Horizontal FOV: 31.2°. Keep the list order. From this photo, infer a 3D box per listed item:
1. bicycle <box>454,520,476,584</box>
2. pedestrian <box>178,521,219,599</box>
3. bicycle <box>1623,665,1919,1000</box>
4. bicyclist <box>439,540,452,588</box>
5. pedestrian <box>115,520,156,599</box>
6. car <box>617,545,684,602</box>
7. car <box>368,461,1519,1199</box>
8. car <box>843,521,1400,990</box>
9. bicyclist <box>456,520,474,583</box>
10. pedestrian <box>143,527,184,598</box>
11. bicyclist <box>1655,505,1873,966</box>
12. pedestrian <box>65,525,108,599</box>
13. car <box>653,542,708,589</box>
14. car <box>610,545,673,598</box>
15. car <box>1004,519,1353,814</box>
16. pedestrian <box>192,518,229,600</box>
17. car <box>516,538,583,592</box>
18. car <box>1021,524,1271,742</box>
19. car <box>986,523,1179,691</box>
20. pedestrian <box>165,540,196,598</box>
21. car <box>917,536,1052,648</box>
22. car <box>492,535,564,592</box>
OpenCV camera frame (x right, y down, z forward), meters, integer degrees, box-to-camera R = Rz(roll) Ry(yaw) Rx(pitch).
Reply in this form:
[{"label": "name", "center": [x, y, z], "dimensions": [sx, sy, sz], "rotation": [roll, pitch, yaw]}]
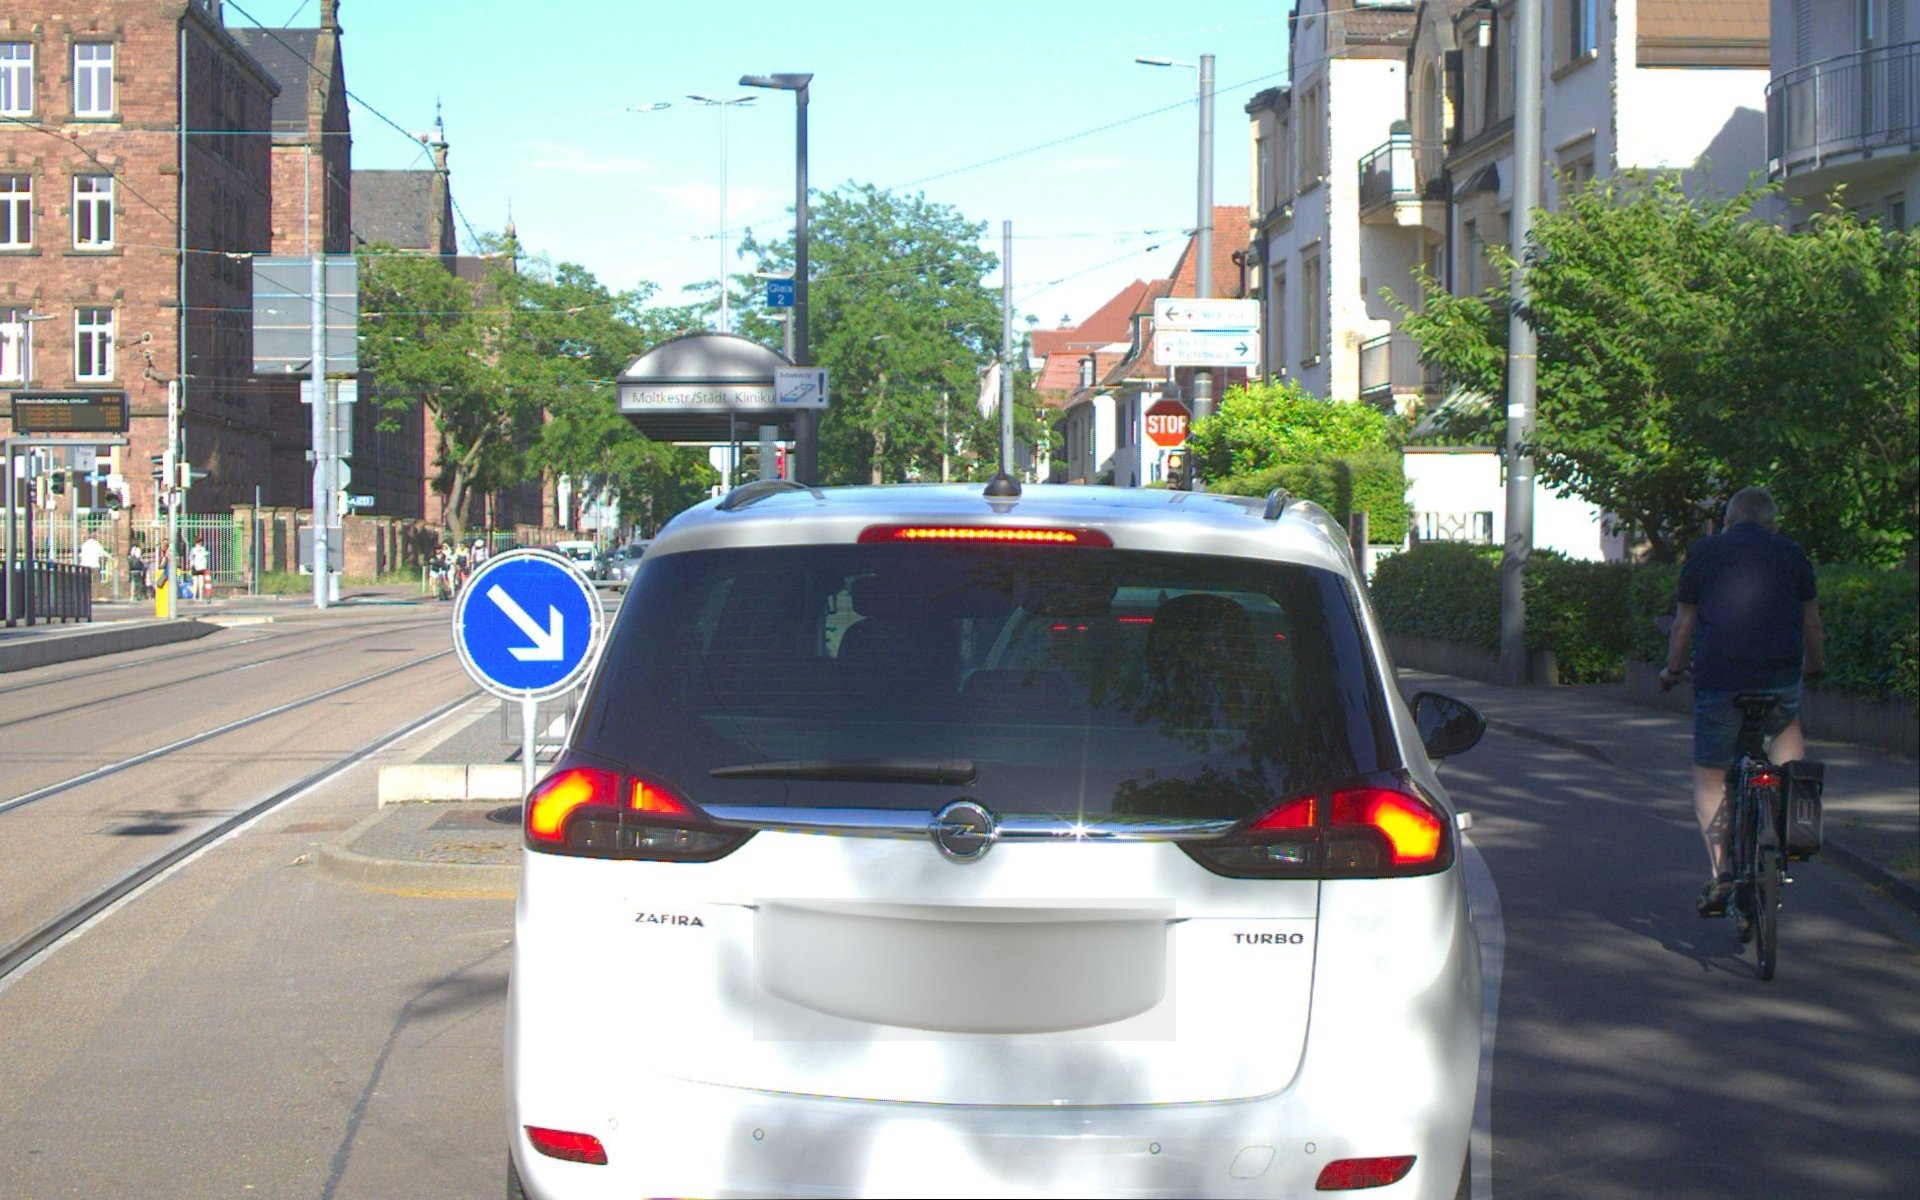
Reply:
[{"label": "bicycle", "center": [-15.696, -1.534, 109.034], "dimensions": [0.487, 2.007, 1.405], "rotation": [0, 1, 0]}, {"label": "pedestrian", "center": [-19.711, -1.034, 88.970], "dimensions": [0.795, 2.007, 0.720], "rotation": [1, 0, -37]}, {"label": "bicycle", "center": [3.010, 0.826, 12.933], "dimensions": [0.624, 1.093, 1.974], "rotation": [0, 1, -1]}, {"label": "bicyclist", "center": [-15.424, -1.070, 103.044], "dimensions": [0.313, 1.439, 0.384], "rotation": [0, 1, -1]}, {"label": "pedestrian", "center": [-21.198, -1.049, 88.347], "dimensions": [0.795, 2.007, 0.720], "rotation": [1, 0, -34]}, {"label": "car", "center": [-9.638, -0.824, 107.362], "dimensions": [1.746, 1.710, 4.000], "rotation": [1, 1, -1]}, {"label": "car", "center": [0.185, 0.564, 7.654], "dimensions": [1.907, 1.656, 3.999], "rotation": [0, 1, 7]}, {"label": "car", "center": [0.779, 0.491, 13.775], "dimensions": [1.907, 1.592, 3.999], "rotation": [0, 1, 7]}, {"label": "bicyclist", "center": [-15.699, -1.534, 109.040], "dimensions": [0.498, 2.007, 0.572], "rotation": [0, 1, -1]}, {"label": "pedestrian", "center": [-21.494, -1.018, 92.771], "dimensions": [0.808, 1.894, 0.743], "rotation": [1, 0, 18]}, {"label": "bicyclist", "center": [3.007, 0.488, 12.914], "dimensions": [0.616, 1.681, 0.779], "rotation": [0, 1, -1]}, {"label": "pedestrian", "center": [-22.622, -0.984, 89.021], "dimensions": [0.808, 1.894, 0.743], "rotation": [1, 0, 14]}, {"label": "car", "center": [-10.486, -1.302, 129.070], "dimensions": [1.746, 1.710, 4.000], "rotation": [1, 1, -1]}, {"label": "car", "center": [-10.650, -0.954, 115.219], "dimensions": [1.746, 1.710, 4.000], "rotation": [1, 1, -1]}, {"label": "car", "center": [1.428, 0.329, 20.997], "dimensions": [1.907, 1.619, 3.999], "rotation": [0, 1, 7]}, {"label": "pedestrian", "center": [-18.527, -1.005, 84.976], "dimensions": [0.794, 2.007, 0.721], "rotation": [1, 0, -17]}, {"label": "car", "center": [-13.551, -1.161, 113.713], "dimensions": [1.746, 1.710, 4.000], "rotation": [1, 1, -1]}, {"label": "car", "center": [1.564, 0.216, 28.274], "dimensions": [1.907, 1.656, 4.000], "rotation": [0, 1, 4]}, {"label": "car", "center": [1.241, 0.034, 36.111], "dimensions": [1.907, 1.656, 4.000], "rotation": [0, 1, 1]}, {"label": "pedestrian", "center": [-21.607, -0.867, 95.322], "dimensions": [0.654, 1.606, 0.711], "rotation": [1, 0, 2]}, {"label": "car", "center": [0.337, -0.152, 53.089], "dimensions": [1.907, 1.656, 4.001], "rotation": [0, 1, -2]}, {"label": "car", "center": [-13.425, -1.125, 107.045], "dimensions": [1.746, 1.710, 4.000], "rotation": [1, 1, -1]}]
